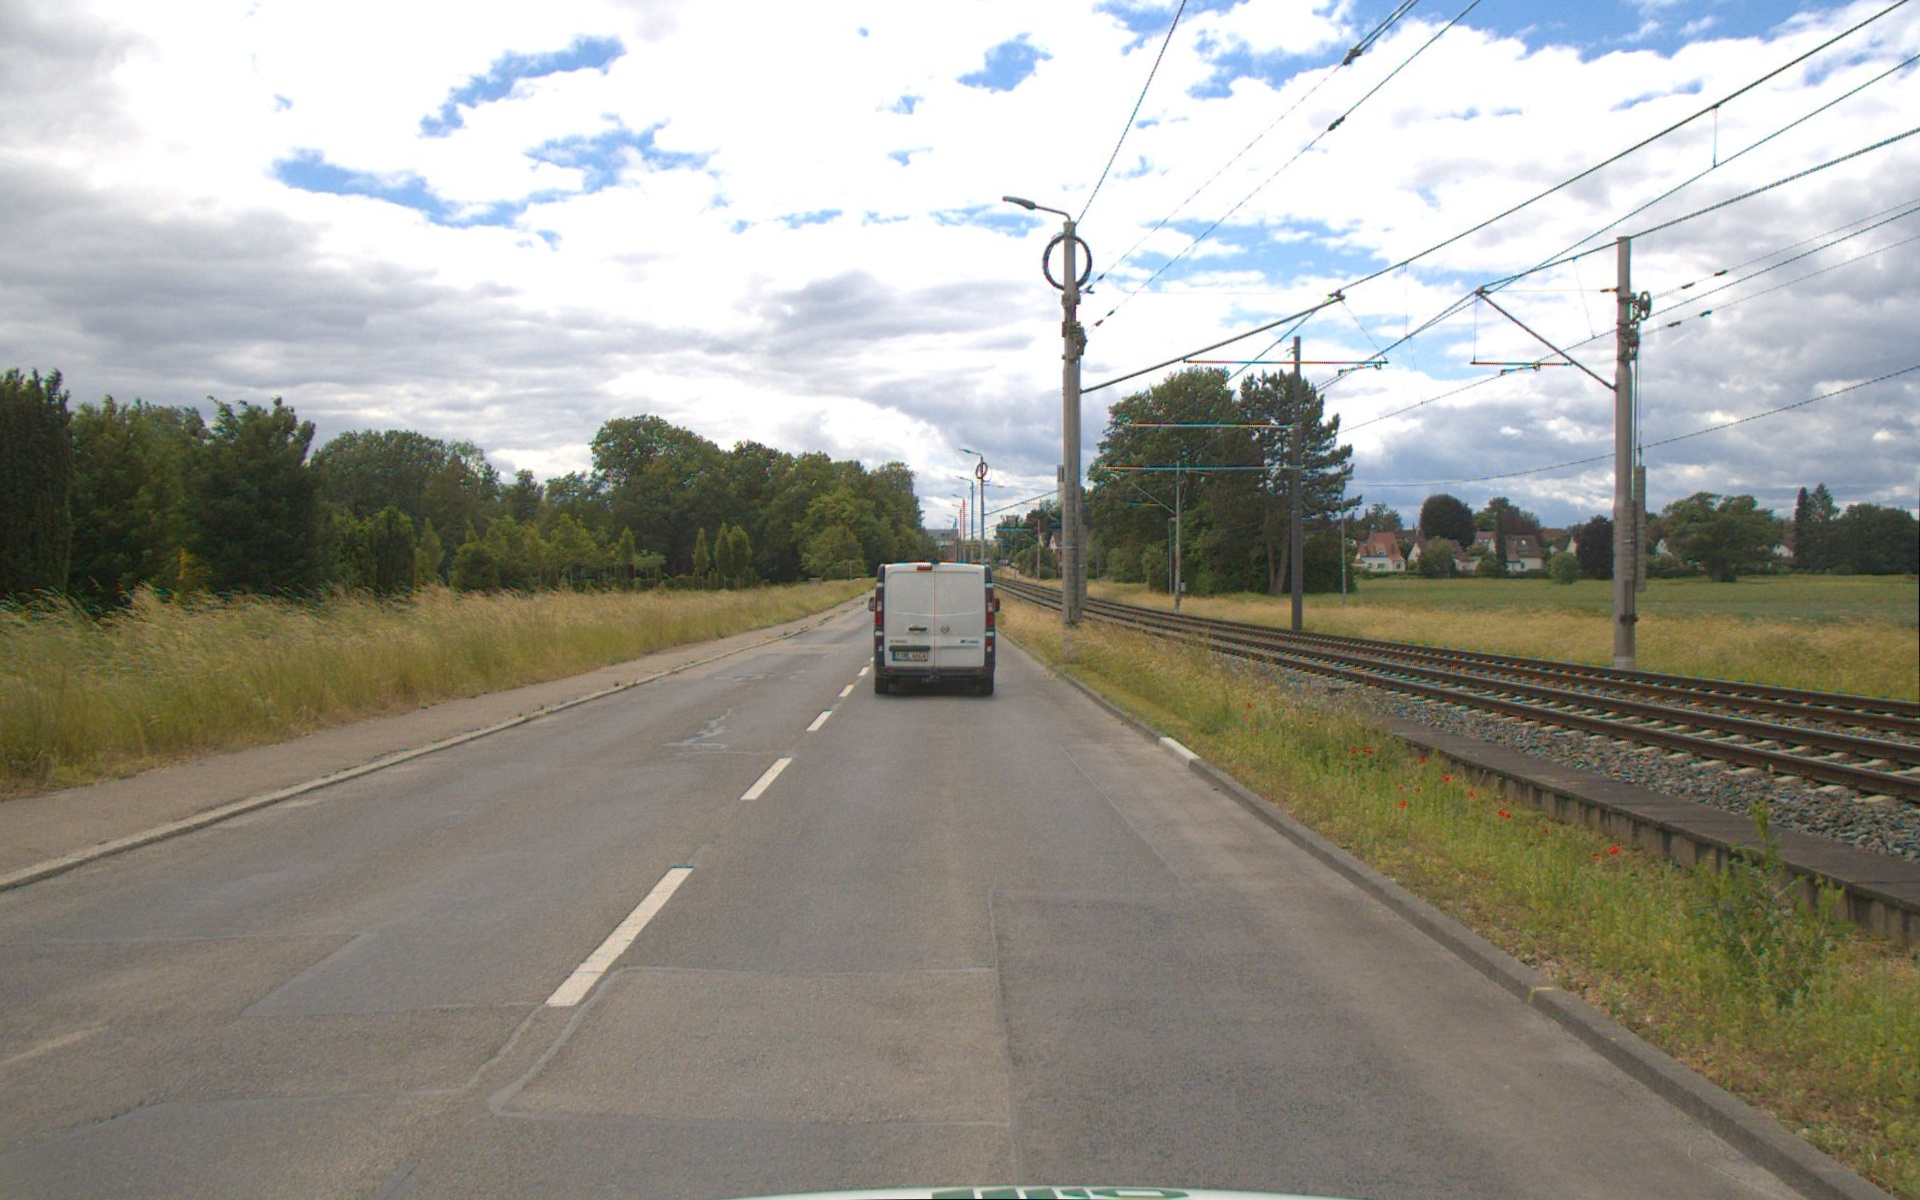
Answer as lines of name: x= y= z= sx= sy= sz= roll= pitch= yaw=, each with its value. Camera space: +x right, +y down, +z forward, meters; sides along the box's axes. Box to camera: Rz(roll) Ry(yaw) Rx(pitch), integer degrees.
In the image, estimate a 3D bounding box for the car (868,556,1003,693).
car: x=-0.424 y=0.347 z=25.967 sx=1.953 sy=1.991 sz=3.998 roll=0 pitch=0 yaw=-2
